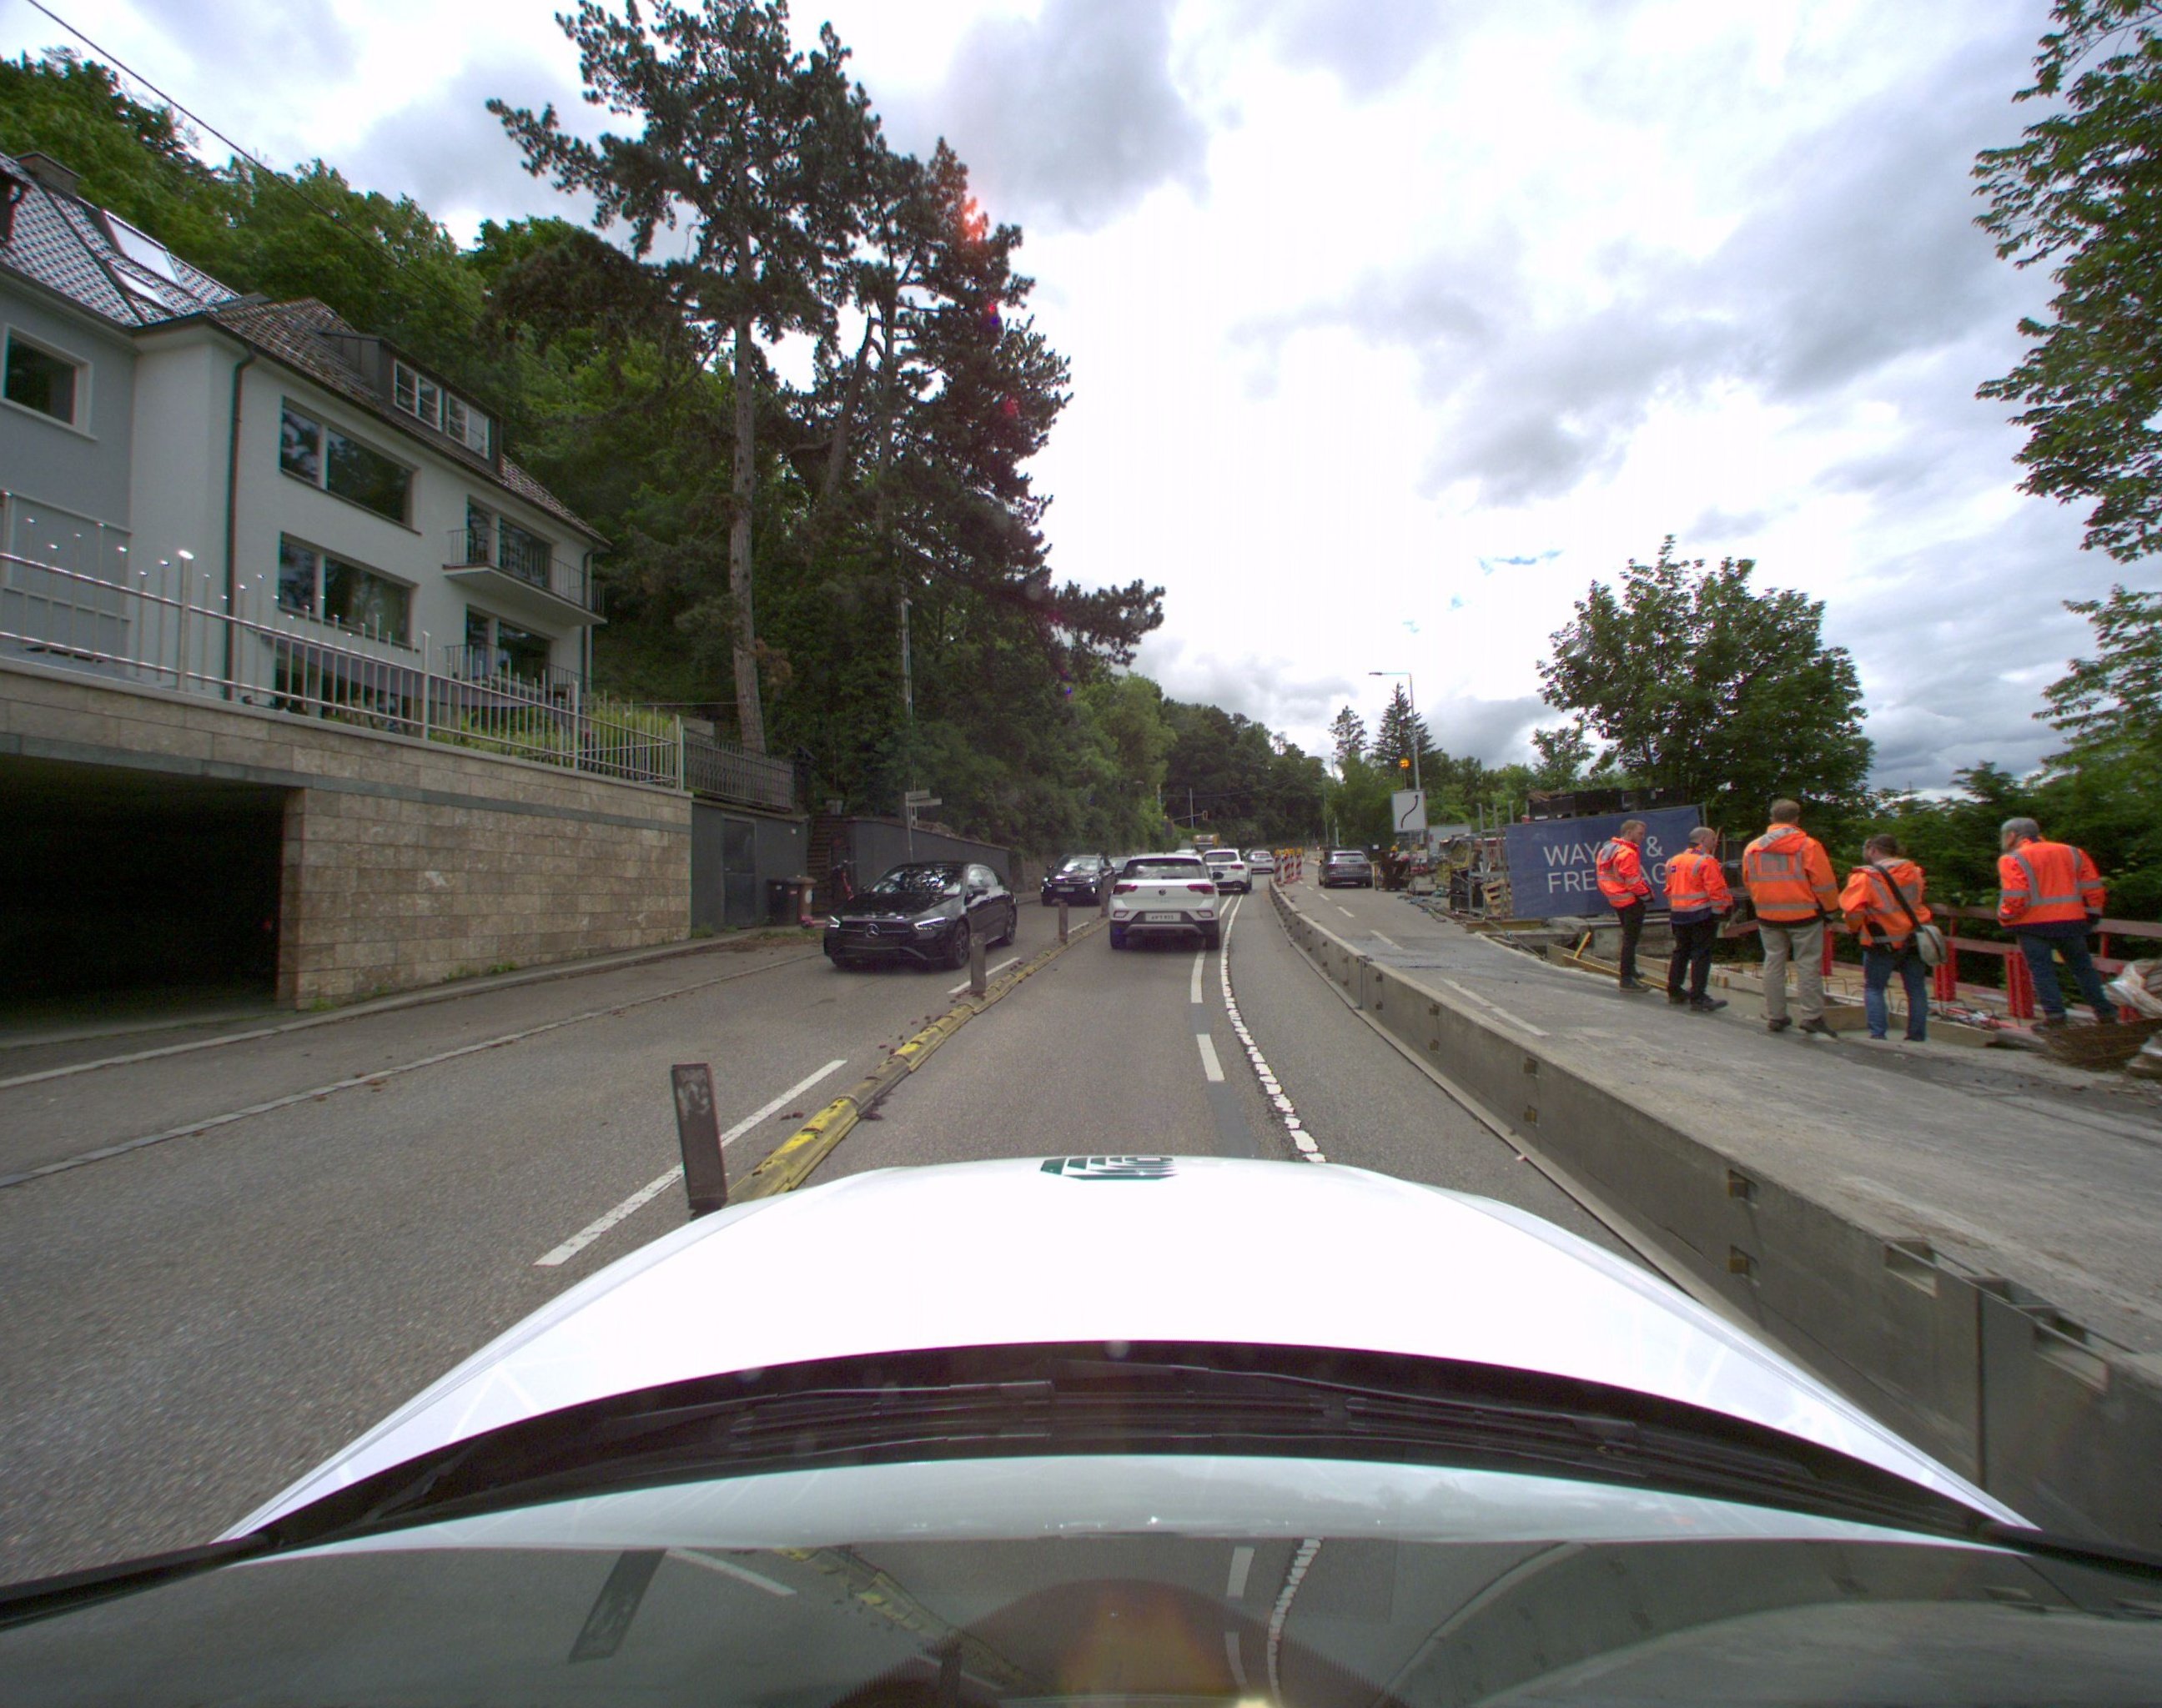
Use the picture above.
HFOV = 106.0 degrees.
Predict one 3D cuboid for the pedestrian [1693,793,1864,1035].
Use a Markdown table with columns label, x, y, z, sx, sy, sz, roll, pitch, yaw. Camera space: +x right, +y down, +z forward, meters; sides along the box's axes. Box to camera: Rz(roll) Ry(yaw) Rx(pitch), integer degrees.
| label | x | y | z | sx | sy | sz | roll | pitch | yaw |
| --- | --- | --- | --- | --- | --- | --- | --- | --- | --- |
| pedestrian | 5.871 | 0.467 | 6.895 | 0.691 | 1.906 | 0.822 | -1 | 0 | -13 |

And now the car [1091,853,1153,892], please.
| label | x | y | z | sx | sy | sz | roll | pitch | yaw |
| --- | --- | --- | --- | --- | --- | --- | --- | --- | --- |
| car | 1.716 | 0.691 | 32.480 | 1.755 | 1.452 | 4.323 | 0 | 0 | 13 |

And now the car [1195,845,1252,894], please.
| label | x | y | z | sx | sy | sz | roll | pitch | yaw |
| --- | --- | --- | --- | --- | --- | --- | --- | --- | --- |
| car | 5.369 | 0.523 | 30.311 | 1.797 | 1.663 | 4.015 | -2 | 0 | 13 |

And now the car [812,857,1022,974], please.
| label | x | y | z | sx | sy | sz | roll | pitch | yaw |
| --- | --- | --- | --- | --- | --- | --- | --- | --- | --- |
| car | -2.252 | 0.784 | 12.471 | 1.757 | 1.435 | 4.319 | 0 | 0 | 9 |

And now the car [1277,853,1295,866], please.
| label | x | y | z | sx | sy | sz | roll | pitch | yaw |
| --- | --- | --- | --- | --- | --- | --- | --- | --- | --- |
| car | 23.208 | 0.590 | 92.133 | 1.782 | 1.368 | 4.013 | -2 | 0 | 11 |

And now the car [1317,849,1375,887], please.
| label | x | y | z | sx | sy | sz | roll | pitch | yaw |
| --- | --- | --- | --- | --- | --- | --- | --- | --- | --- |
| car | 10.293 | 0.520 | 31.902 | 1.782 | 1.368 | 4.014 | -2 | 0 | 13 |

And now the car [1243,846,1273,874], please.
| label | x | y | z | sx | sy | sz | roll | pitch | yaw |
| --- | --- | --- | --- | --- | --- | --- | --- | --- | --- |
| car | 11.704 | 0.366 | 53.797 | 1.797 | 1.663 | 4.015 | -2 | 0 | 14 |

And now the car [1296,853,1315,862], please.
| label | x | y | z | sx | sy | sz | roll | pitch | yaw |
| --- | --- | --- | --- | --- | --- | --- | --- | --- | --- |
| car | 35.923 | 0.590 | 130.292 | 1.777 | 1.368 | 4.025 | -2 | 0 | 31 |

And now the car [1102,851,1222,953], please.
| label | x | y | z | sx | sy | sz | roll | pitch | yaw |
| --- | --- | --- | --- | --- | --- | --- | --- | --- | --- |
| car | 1.541 | 0.725 | 14.390 | 1.799 | 1.531 | 4.010 | -1 | 0 | 9 |

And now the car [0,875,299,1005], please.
| label | x | y | z | sx | sy | sz | roll | pitch | yaw |
| --- | --- | --- | --- | --- | --- | --- | --- | --- | --- |
| car | -12.688 | 0.998 | 10.464 | 1.764 | 1.419 | 3.545 | 0 | -2 | 1 |

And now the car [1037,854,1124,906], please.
| label | x | y | z | sx | sy | sz | roll | pitch | yaw |
| --- | --- | --- | --- | --- | --- | --- | --- | --- | --- |
| car | 0.097 | 0.722 | 24.981 | 1.755 | 1.452 | 4.323 | 0 | 0 | 13 |

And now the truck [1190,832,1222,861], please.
| label | x | y | z | sx | sy | sz | roll | pitch | yaw |
| --- | --- | --- | --- | --- | --- | --- | --- | --- | --- |
| truck | 14.480 | -0.818 | 94.215 | 2.883 | 3.155 | 7.612 | -2 | -1 | 14 |

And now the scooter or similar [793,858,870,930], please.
| label | x | y | z | sx | sy | sz | roll | pitch | yaw |
| --- | --- | --- | --- | --- | --- | --- | --- | --- | --- |
| scooter or similar | -4.557 | 0.717 | 14.929 | 1.311 | 1.255 | 0.464 | -1 | 0 | -16 |

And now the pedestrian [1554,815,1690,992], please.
| label | x | y | z | sx | sy | sz | roll | pitch | yaw |
| --- | --- | --- | --- | --- | --- | --- | --- | --- | --- |
| pedestrian | 5.899 | 0.511 | 8.936 | 0.873 | 1.822 | 0.878 | -1 | 0 | -1 |

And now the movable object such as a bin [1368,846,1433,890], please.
| label | x | y | z | sx | sy | sz | roll | pitch | yaw |
| --- | --- | --- | --- | --- | --- | --- | --- | --- | --- |
| movable object such as a bin | 10.889 | 0.469 | 27.831 | 1.391 | 1.425 | 1.904 | -1 | 0 | -4 |

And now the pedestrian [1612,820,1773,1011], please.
| label | x | y | z | sx | sy | sz | roll | pitch | yaw |
| --- | --- | --- | --- | --- | --- | --- | --- | --- | --- |
| pedestrian | 5.913 | 0.562 | 7.935 | 0.873 | 1.731 | 0.878 | -1 | 0 | -1 |

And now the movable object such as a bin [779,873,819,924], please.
| label | x | y | z | sx | sy | sz | roll | pitch | yaw |
| --- | --- | --- | --- | --- | --- | --- | --- | --- | --- |
| movable object such as a bin | -5.663 | 0.888 | 16.383 | 0.545 | 0.977 | 0.511 | -2 | -1 | 12 |

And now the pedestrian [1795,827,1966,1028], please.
| label | x | y | z | sx | sy | sz | roll | pitch | yaw |
| --- | --- | --- | --- | --- | --- | --- | --- | --- | --- |
| pedestrian | 6.762 | 0.592 | 6.933 | 0.776 | 1.608 | 0.670 | -1 | 0 | 15 |

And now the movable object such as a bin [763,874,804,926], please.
| label | x | y | z | sx | sy | sz | roll | pitch | yaw |
| --- | --- | --- | --- | --- | --- | --- | --- | --- | --- |
| movable object such as a bin | -5.782 | 0.886 | 15.838 | 0.545 | 0.977 | 0.511 | -2 | -1 | 12 |

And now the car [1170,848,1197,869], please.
| label | x | y | z | sx | sy | sz | roll | pitch | yaw |
| --- | --- | --- | --- | --- | --- | --- | --- | --- | --- |
| car | 7.626 | 0.309 | 60.403 | 1.756 | 1.452 | 4.321 | 0 | 0 | 10 |

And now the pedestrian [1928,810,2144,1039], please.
| label | x | y | z | sx | sy | sz | roll | pitch | yaw |
| --- | --- | --- | --- | --- | --- | --- | --- | --- | --- |
| pedestrian | 7.538 | 0.525 | 6.483 | 0.777 | 1.688 | 0.788 | -1 | 0 | 15 |

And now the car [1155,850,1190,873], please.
| label | x | y | z | sx | sy | sz | roll | pitch | yaw |
| --- | --- | --- | --- | --- | --- | --- | --- | --- | --- |
| car | 5.983 | 0.470 | 52.877 | 1.755 | 1.452 | 4.323 | 0 | 0 | 13 |

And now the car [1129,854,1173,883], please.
| label | x | y | z | sx | sy | sz | roll | pitch | yaw |
| --- | --- | --- | --- | --- | --- | --- | --- | --- | --- |
| car | 3.779 | 0.717 | 43.537 | 1.755 | 1.452 | 4.323 | 0 | 0 | 13 |

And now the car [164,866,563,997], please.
| label | x | y | z | sx | sy | sz | roll | pitch | yaw |
| --- | --- | --- | --- | --- | --- | --- | --- | --- | --- |
| car | -9.330 | 0.934 | 11.068 | 1.771 | 1.453 | 3.712 | 0 | -2 | 10 |
